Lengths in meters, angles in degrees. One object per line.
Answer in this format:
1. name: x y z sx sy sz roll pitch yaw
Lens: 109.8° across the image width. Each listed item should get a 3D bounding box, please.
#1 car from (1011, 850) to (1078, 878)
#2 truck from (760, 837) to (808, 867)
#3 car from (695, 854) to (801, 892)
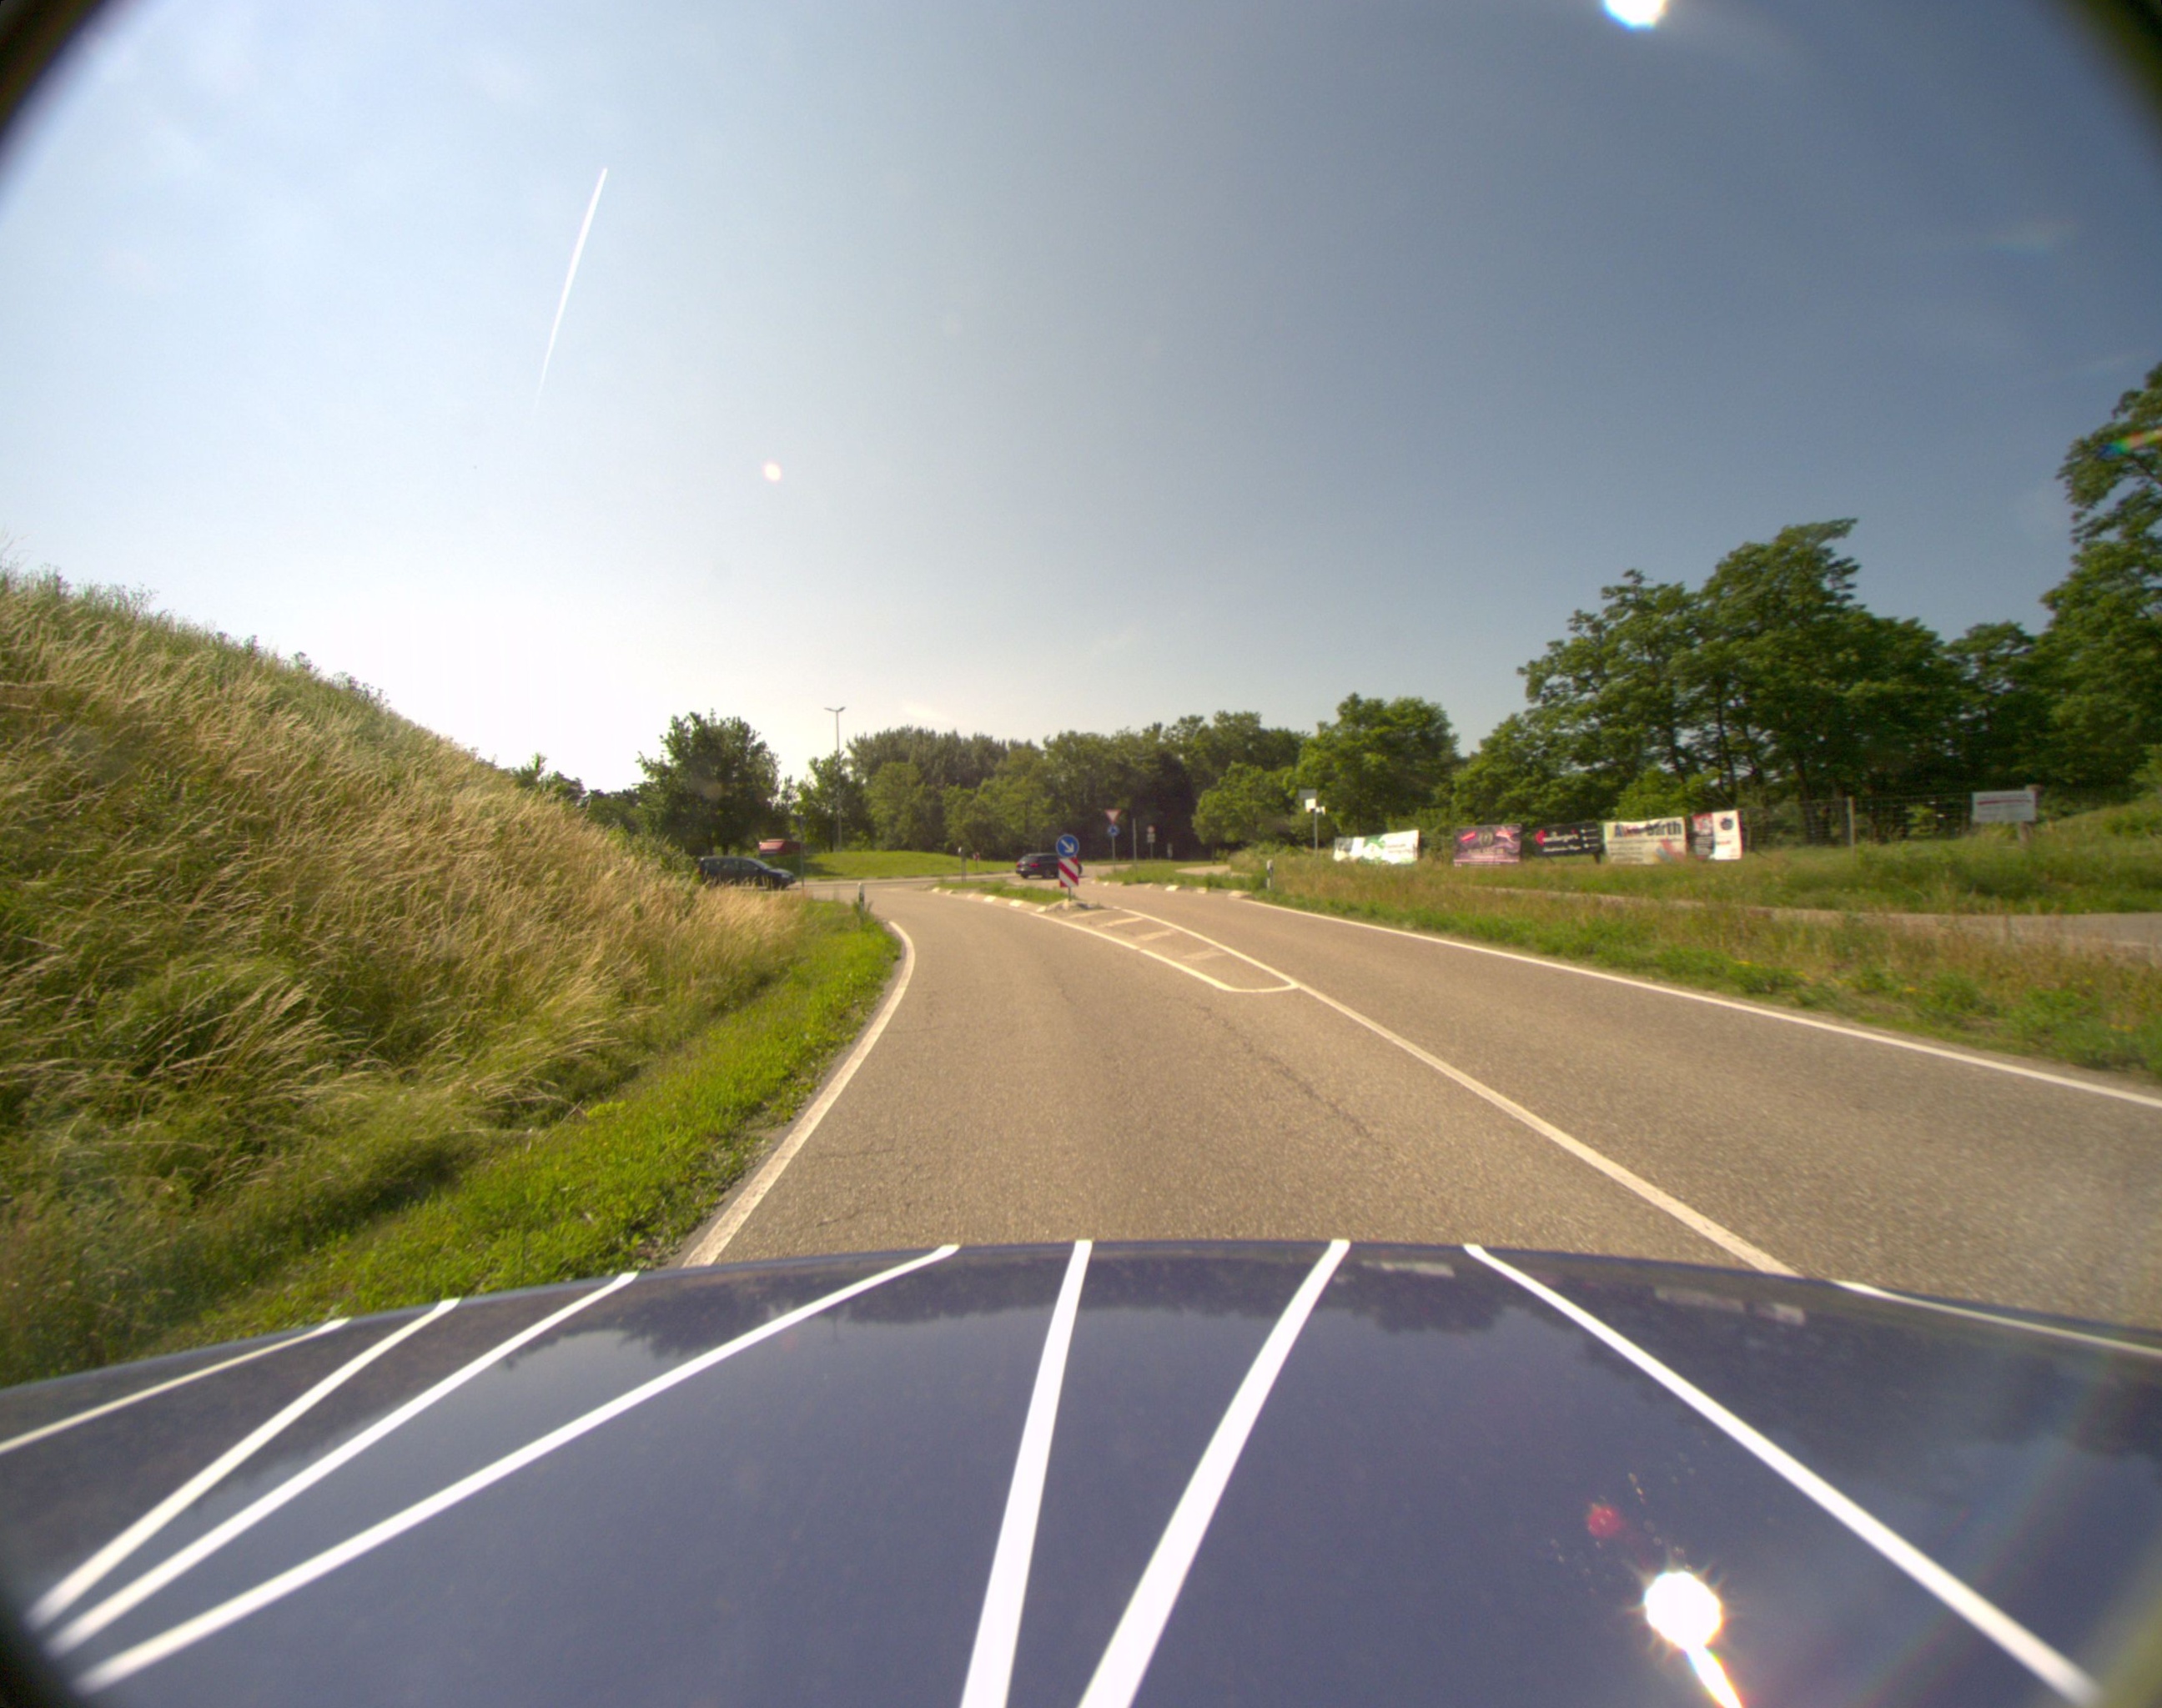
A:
1. car: -2.108 0.550 45.319 1.809 1.481 4.686 0 2 28
2. truck: -29.782 -0.249 76.639 2.481 2.815 9.048 -2 1 -9
3. car: -16.172 0.912 37.075 4.351 1.646 1.706 -2 1 -7
